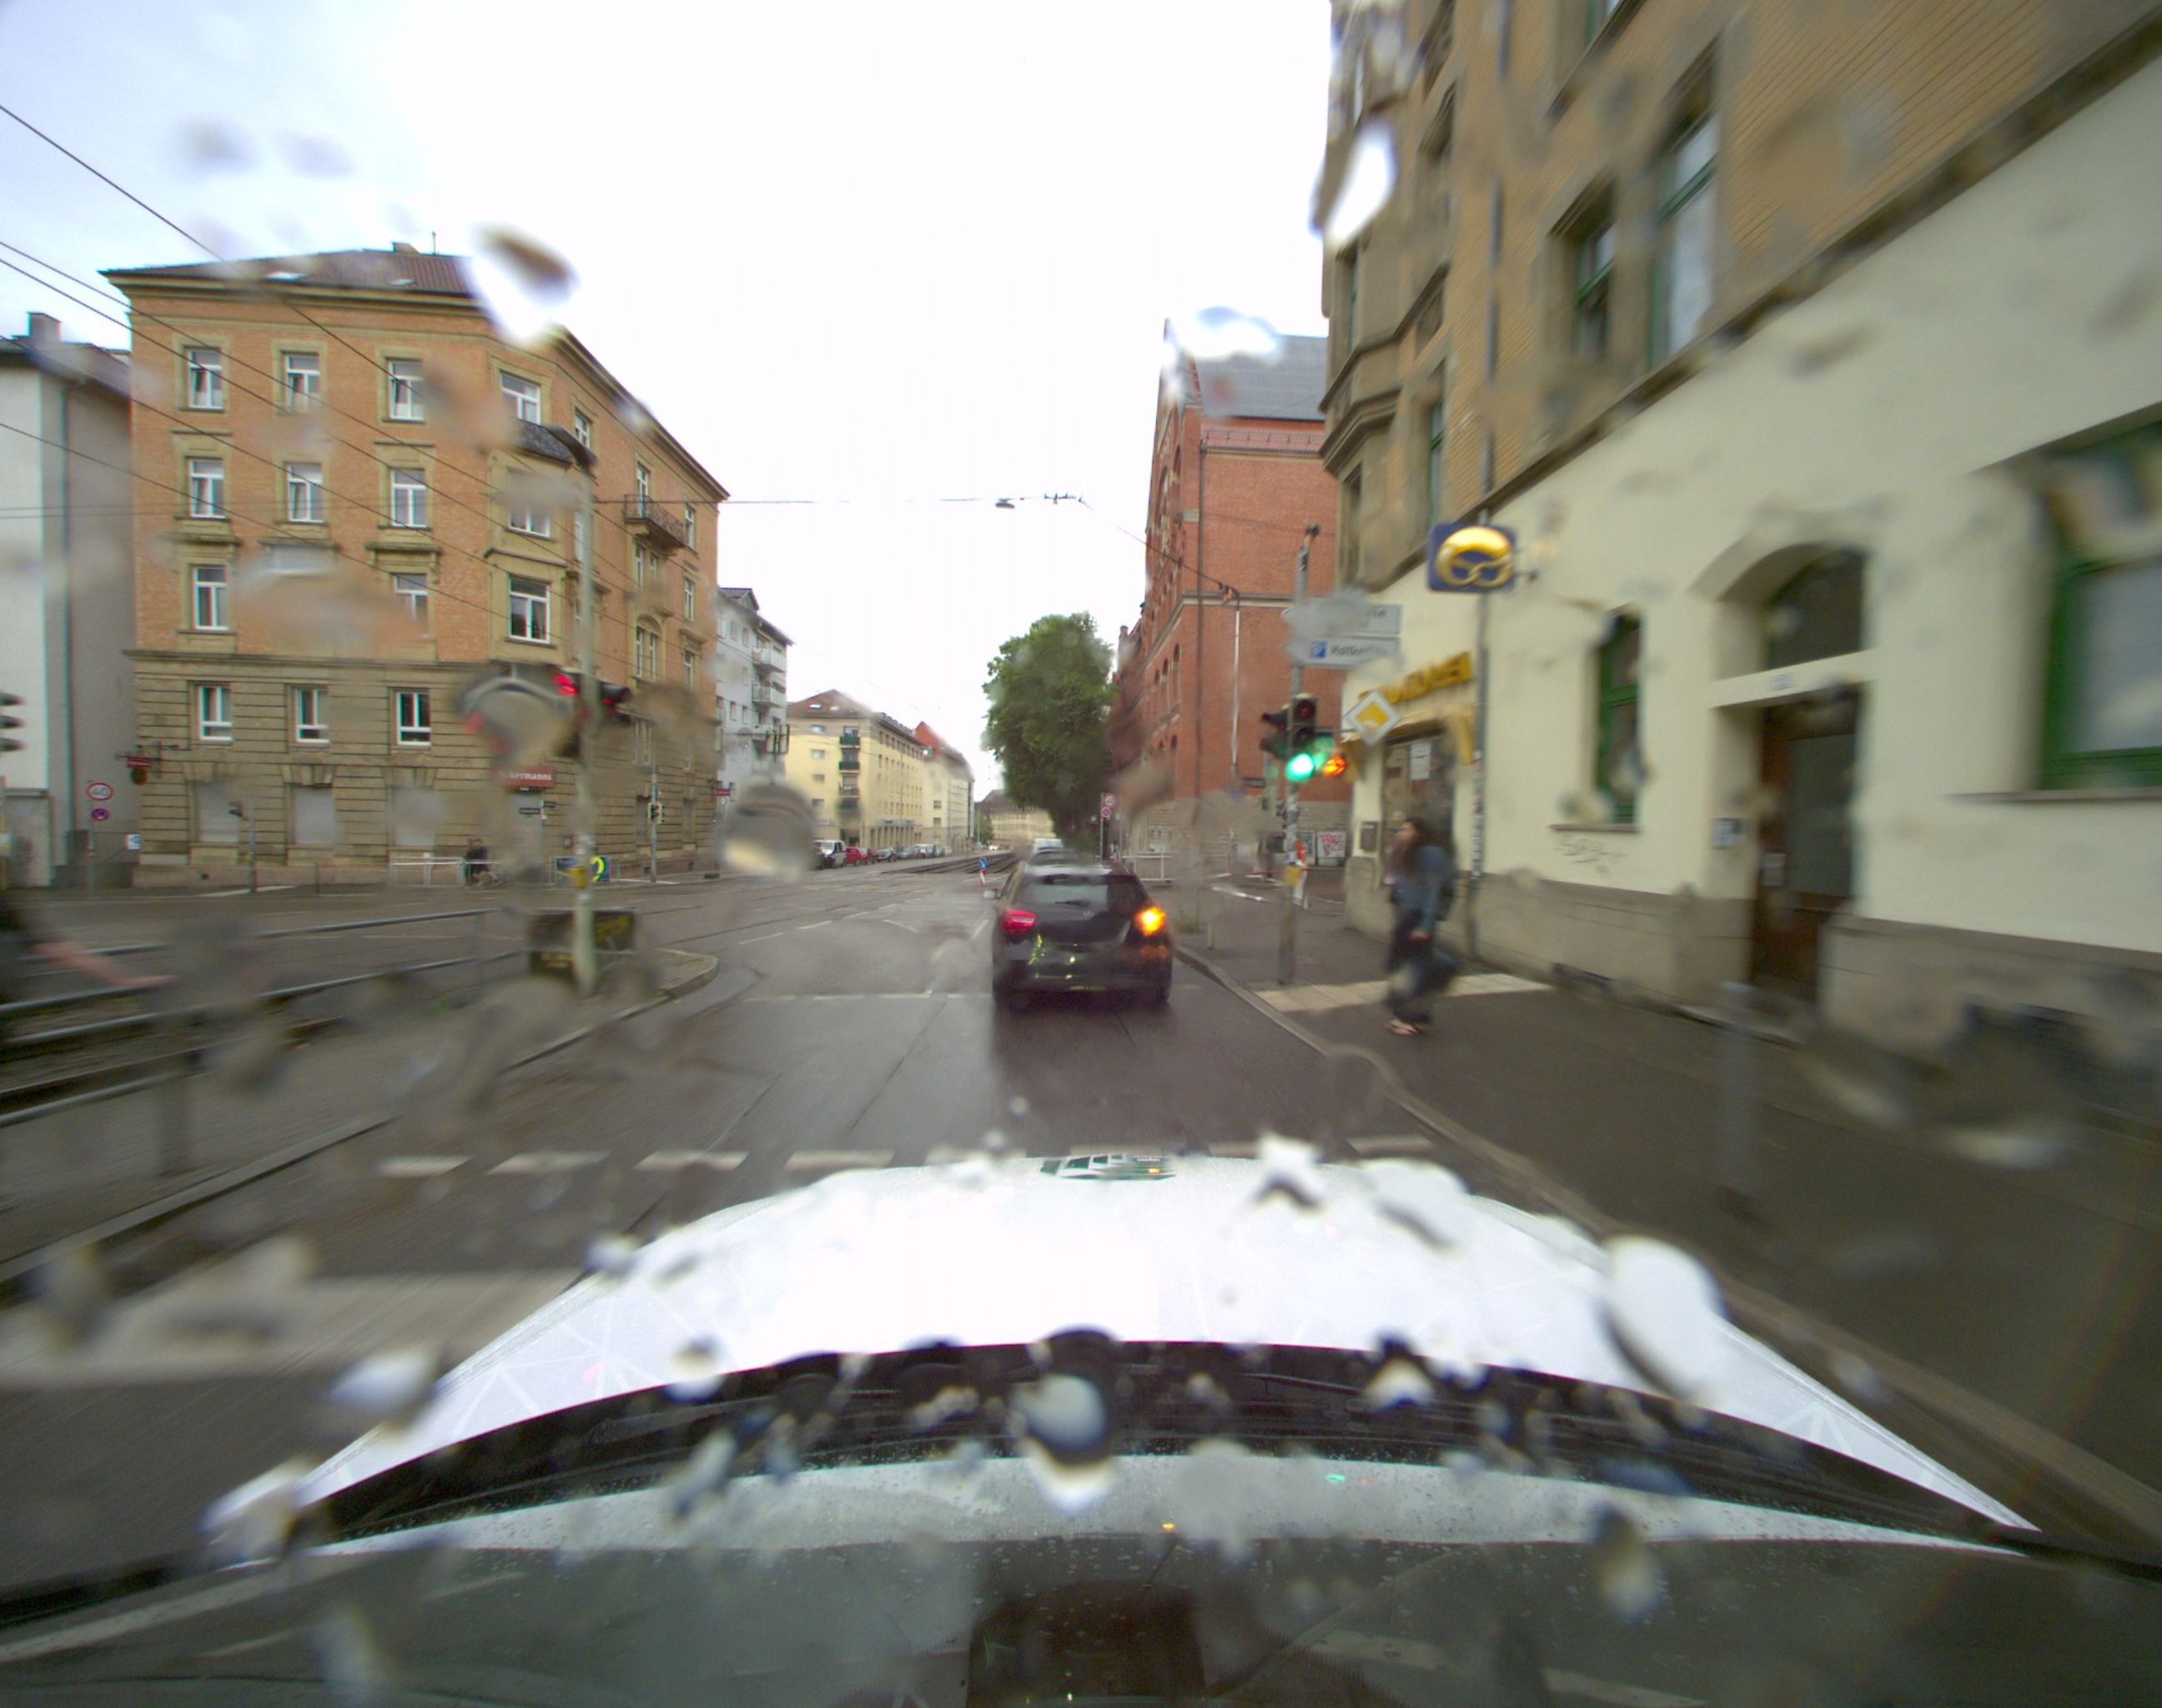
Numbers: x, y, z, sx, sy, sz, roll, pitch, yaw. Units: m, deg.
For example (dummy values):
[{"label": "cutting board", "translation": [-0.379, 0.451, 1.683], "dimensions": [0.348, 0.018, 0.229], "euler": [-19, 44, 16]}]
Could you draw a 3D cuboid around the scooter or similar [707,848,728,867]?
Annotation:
[{"label": "scooter or similar", "translation": [-23.379, 0.230, 52.376], "dimensions": [1.090, 1.209, 0.315], "euler": [-3, 1, -14]}]

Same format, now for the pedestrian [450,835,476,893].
[{"label": "pedestrian", "translation": [-19.988, 0.324, 26.337], "dimensions": [0.630, 1.840, 0.633], "euler": [0, 0, -35]}]

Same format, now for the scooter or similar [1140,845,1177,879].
[{"label": "scooter or similar", "translation": [2.861, 0.292, 30.147], "dimensions": [1.236, 1.250, 0.641], "euler": [-1, 0, 19]}]

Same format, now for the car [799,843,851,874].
[{"label": "car", "translation": [-18.168, 0.269, 58.060], "dimensions": [2.065, 2.009, 5.297], "euler": [3, 1, -3]}]

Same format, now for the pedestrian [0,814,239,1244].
[{"label": "pedestrian", "translation": [-4.479, 0.651, 3.420], "dimensions": [0.833, 1.604, 1.000], "euler": [0, 0, -5]}]

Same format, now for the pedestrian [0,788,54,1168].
[{"label": "pedestrian", "translation": [-5.503, 0.588, 3.522], "dimensions": [0.824, 1.798, 1.000], "euler": [0, 0, -5]}]

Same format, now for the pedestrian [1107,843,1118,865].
[{"label": "pedestrian", "translation": [2.409, -0.001, 62.238], "dimensions": [0.820, 1.678, 0.860], "euler": [0, 0, 0]}]

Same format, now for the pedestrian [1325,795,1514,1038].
[{"label": "pedestrian", "translation": [2.598, 0.449, 6.374], "dimensions": [1.014, 1.720, 0.930], "euler": [-3, 0, -2]}]

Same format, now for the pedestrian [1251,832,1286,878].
[{"label": "pedestrian", "translation": [6.838, 0.039, 29.706], "dimensions": [0.956, 1.625, 1.072], "euler": [-1, 0, -3]}]

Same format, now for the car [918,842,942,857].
[{"label": "car", "translation": [-20.164, -0.580, 109.097], "dimensions": [1.986, 1.905, 5.460], "euler": [2, 0, 1]}]

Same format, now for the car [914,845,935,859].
[{"label": "car", "translation": [-19.728, -0.194, 102.923], "dimensions": [1.862, 1.717, 4.456], "euler": [0, 0, -2]}]

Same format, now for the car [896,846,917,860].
[{"label": "car", "translation": [-19.485, -0.159, 91.112], "dimensions": [1.850, 1.508, 4.978], "euler": [0, 0, -8]}]

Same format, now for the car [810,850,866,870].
[{"label": "car", "translation": [-18.691, 0.474, 62.784], "dimensions": [1.763, 1.434, 4.007], "euler": [1, 0, 31]}]

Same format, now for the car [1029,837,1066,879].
[{"label": "car", "translation": [-1.759, 0.192, 41.361], "dimensions": [1.737, 2.013, 3.898], "euler": [0, 0, -4]}]

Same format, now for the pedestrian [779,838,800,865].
[{"label": "pedestrian", "translation": [-20.770, -0.197, 58.104], "dimensions": [1.172, 1.929, 1.174], "euler": [1, 0, -10]}]

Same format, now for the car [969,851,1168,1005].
[{"label": "car", "translation": [-0.220, 0.678, 9.465], "dimensions": [1.790, 1.375, 3.995], "euler": [2, 0, -3]}]

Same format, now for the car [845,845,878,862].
[{"label": "car", "translation": [-18.486, -0.046, 68.824], "dimensions": [1.648, 1.451, 4.074], "euler": [0, 0, 0]}]

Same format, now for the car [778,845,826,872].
[{"label": "car", "translation": [-17.722, 0.271, 51.987], "dimensions": [1.729, 1.651, 4.359], "euler": [1, 0, -3]}]

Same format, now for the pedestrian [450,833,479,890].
[{"label": "pedestrian", "translation": [-19.874, 0.234, 26.266], "dimensions": [0.630, 1.766, 0.633], "euler": [-3, 4, -34]}]

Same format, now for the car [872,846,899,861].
[{"label": "car", "translation": [-18.676, -0.049, 78.006], "dimensions": [1.676, 1.396, 4.616], "euler": [0, 0, -4]}]

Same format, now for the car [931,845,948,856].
[{"label": "car", "translation": [-20.507, -0.550, 118.370], "dimensions": [1.809, 1.499, 4.578], "euler": [2, 1, -3]}]

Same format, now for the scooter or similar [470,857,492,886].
[{"label": "scooter or similar", "translation": [-19.932, 0.572, 27.060], "dimensions": [0.557, 0.945, 0.572], "euler": [0, 0, -33]}]

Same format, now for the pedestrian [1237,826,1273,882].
[{"label": "pedestrian", "translation": [6.077, -0.011, 28.512], "dimensions": [0.956, 1.887, 1.072], "euler": [-1, 0, -3]}]

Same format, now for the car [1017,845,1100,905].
[{"label": "car", "translation": [-0.710, 0.514, 22.099], "dimensions": [1.931, 1.453, 4.309], "euler": [1, 0, -6]}]
